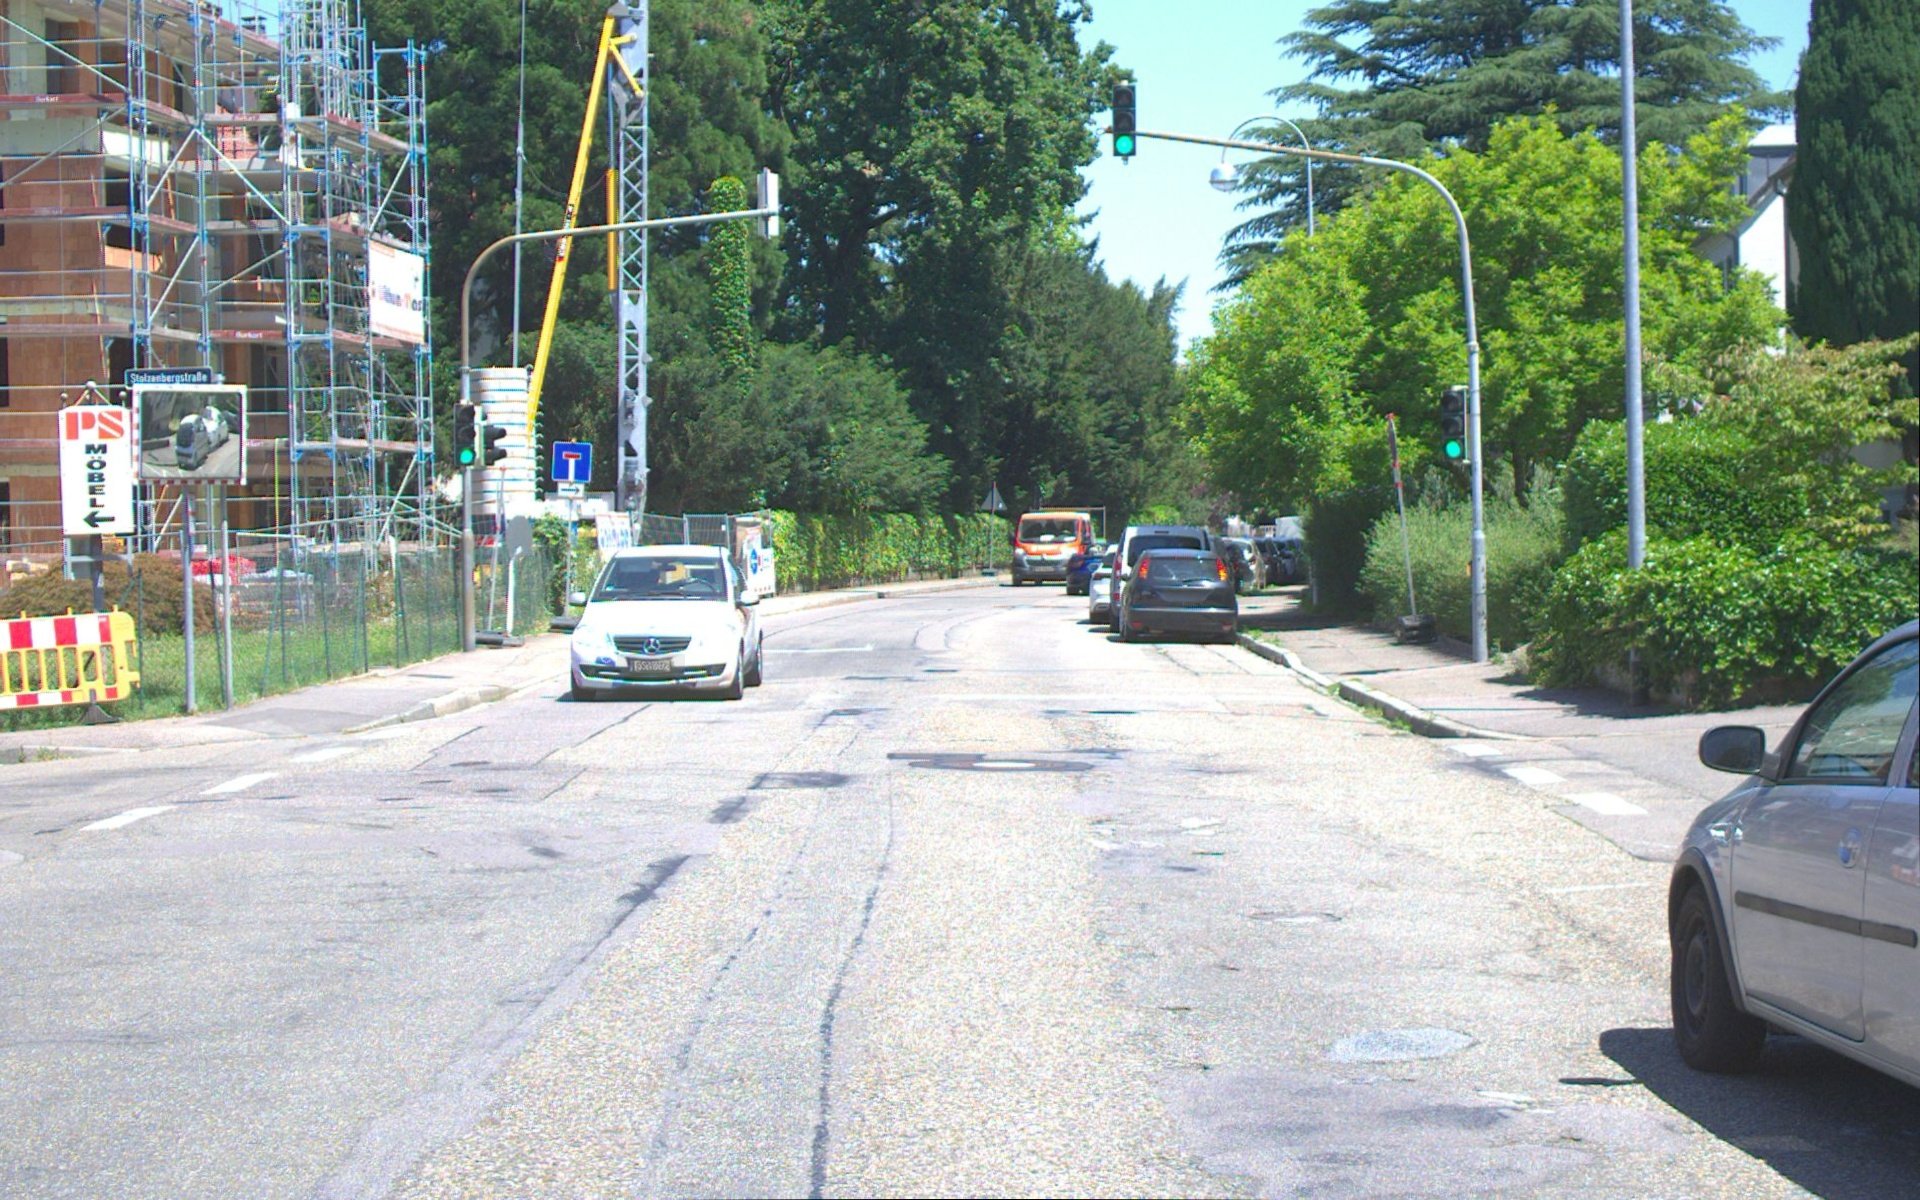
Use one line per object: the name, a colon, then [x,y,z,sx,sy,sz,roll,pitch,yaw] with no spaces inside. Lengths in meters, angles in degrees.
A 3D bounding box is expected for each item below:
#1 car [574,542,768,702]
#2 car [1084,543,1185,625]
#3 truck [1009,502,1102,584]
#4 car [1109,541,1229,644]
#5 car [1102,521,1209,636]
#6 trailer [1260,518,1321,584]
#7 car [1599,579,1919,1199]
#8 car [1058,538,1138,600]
car: [-3.028,0.194,36.732,1.652,1.556,3.885,-2,1,1]
car: [3.230,-0.319,63.182,1.662,1.430,4.128,1,1,5]
truck: [2.887,-1.726,102.411,2.128,2.331,6.433,-1,1,7]
car: [3.190,-0.145,53.122,1.629,1.458,4.016,2,1,1]
car: [3.277,-0.379,57.800,1.662,1.797,4.202,2,1,3]
trailer: [10.819,-1.623,112.452,1.680,2.060,3.707,1,2,10]
car: [2.997,0.710,9.158,1.666,1.460,4.000,2,1,-2]
car: [3.552,-0.805,87.885,1.794,1.505,3.999,1,1,5]
